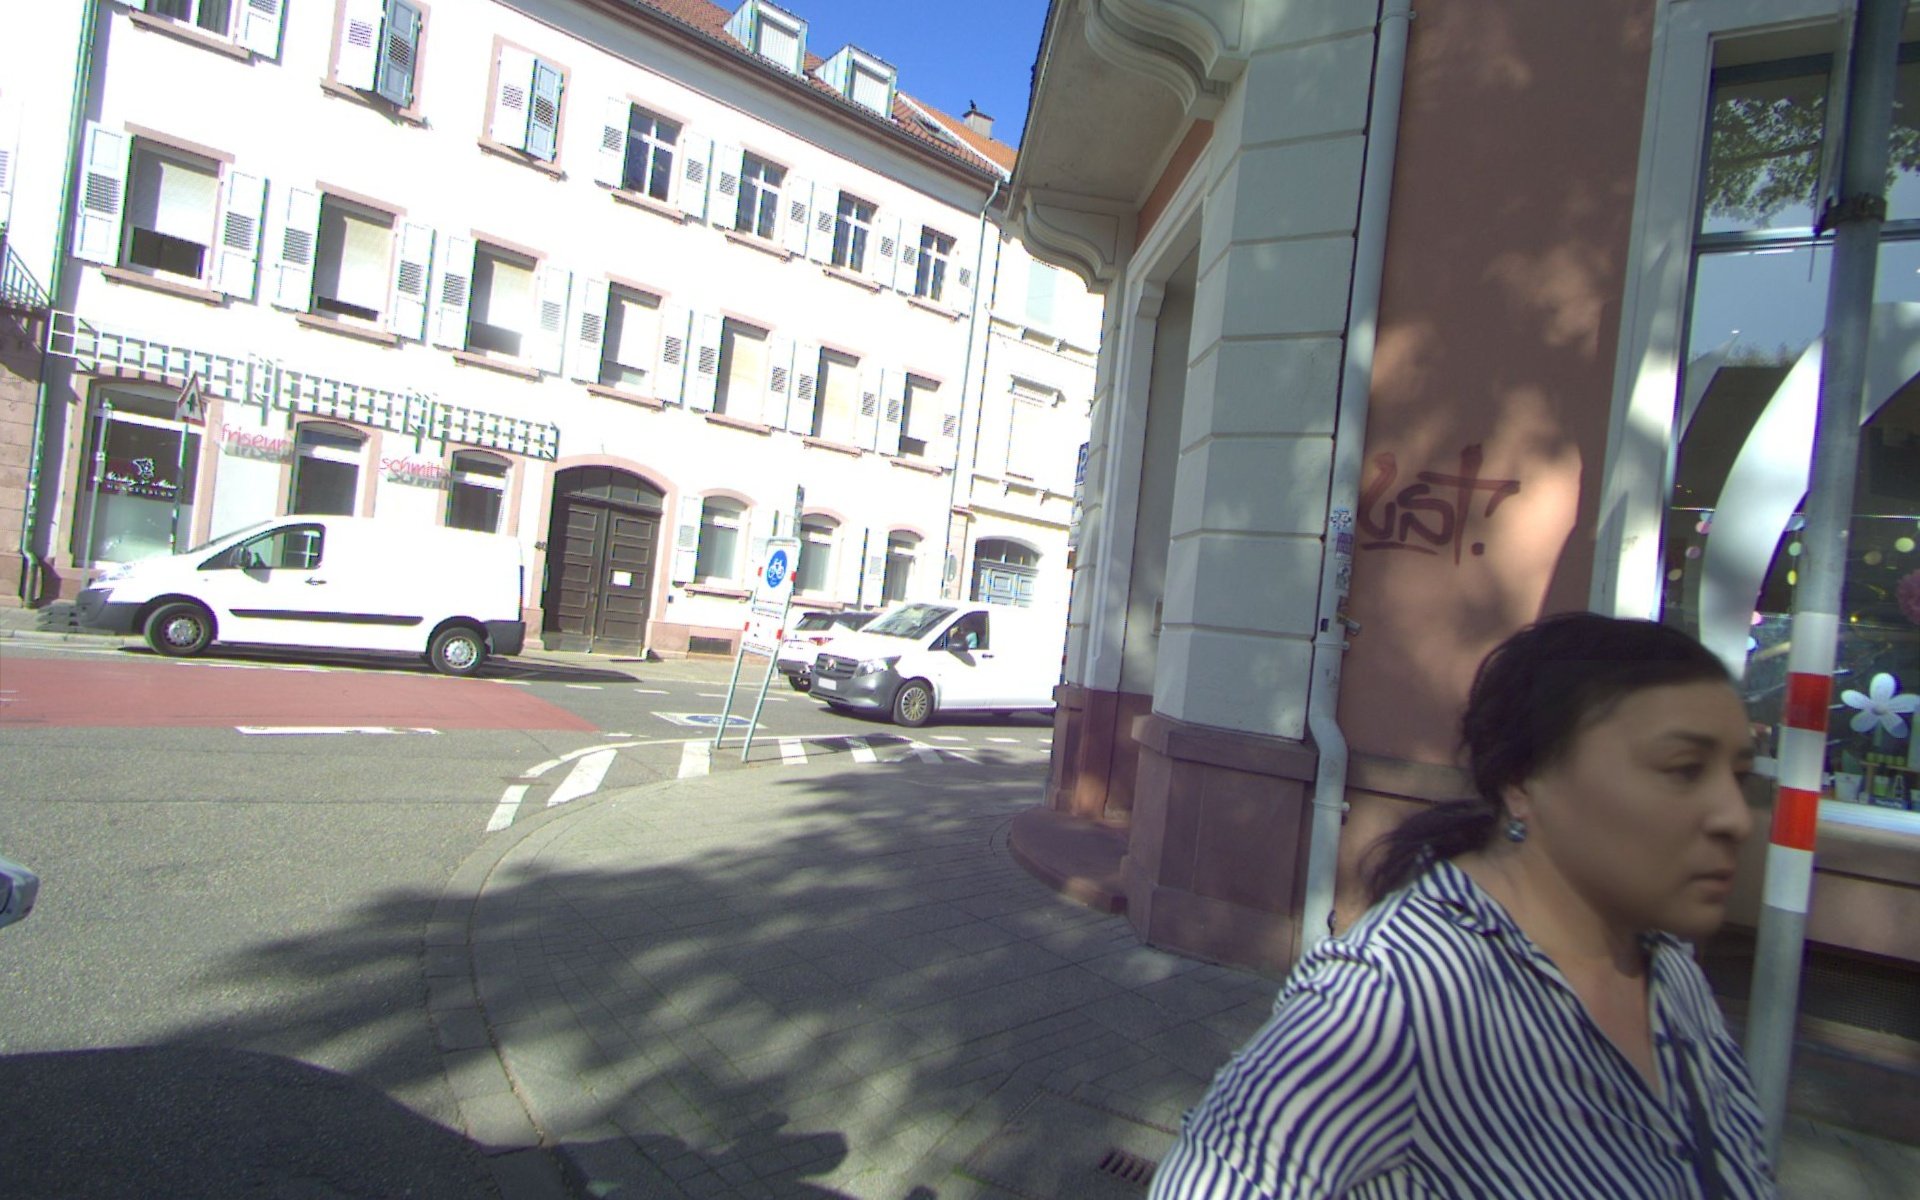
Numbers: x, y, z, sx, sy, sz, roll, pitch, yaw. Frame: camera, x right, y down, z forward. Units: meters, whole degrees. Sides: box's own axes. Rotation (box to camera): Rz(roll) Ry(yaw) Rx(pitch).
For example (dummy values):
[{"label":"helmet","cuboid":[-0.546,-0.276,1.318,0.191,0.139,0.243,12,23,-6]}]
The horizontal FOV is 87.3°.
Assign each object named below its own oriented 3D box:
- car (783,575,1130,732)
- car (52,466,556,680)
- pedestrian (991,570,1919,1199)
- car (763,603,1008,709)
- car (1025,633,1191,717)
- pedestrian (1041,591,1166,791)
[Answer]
[{"label":"car","cuboid":[0.115,0.932,16.076,5.388,1.930,2.084,8,-2,-42]},{"label":"car","cuboid":[-8.185,-0.216,13.066,4.980,1.969,2.032,8,-2,-35]},{"label":"pedestrian","cuboid":[0.474,0.796,0.971,0.830,1.595,0.845,3,3,-2]},{"label":"car","cuboid":[-1.331,1.099,19.016,4.347,1.559,1.630,8,-3,-38]},{"label":"car","cuboid":[3.430,1.729,23.037,3.609,1.559,1.616,8,-3,-38]},{"label":"pedestrian","cuboid":[1.396,0.860,9.736,0.817,1.786,0.750,5,-1,33]}]
